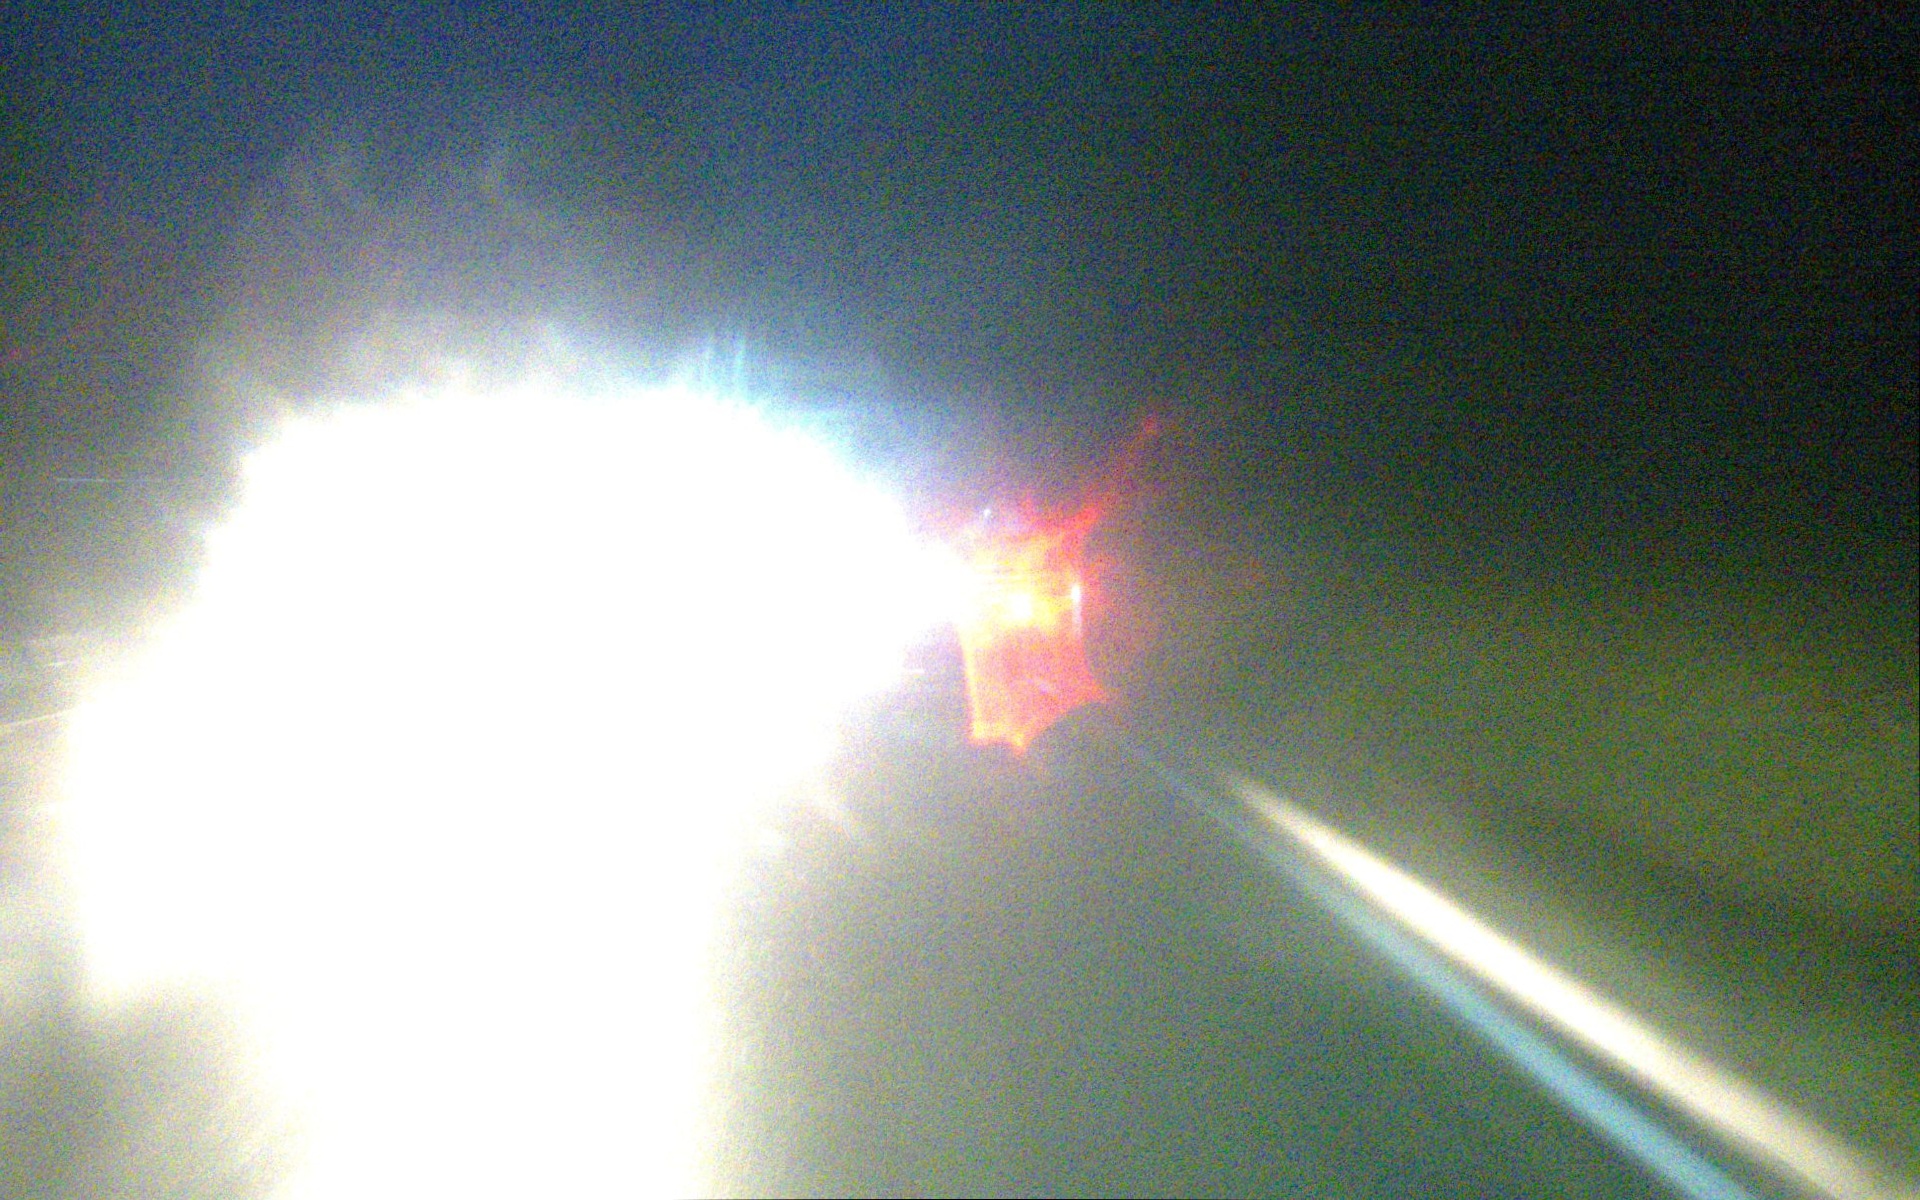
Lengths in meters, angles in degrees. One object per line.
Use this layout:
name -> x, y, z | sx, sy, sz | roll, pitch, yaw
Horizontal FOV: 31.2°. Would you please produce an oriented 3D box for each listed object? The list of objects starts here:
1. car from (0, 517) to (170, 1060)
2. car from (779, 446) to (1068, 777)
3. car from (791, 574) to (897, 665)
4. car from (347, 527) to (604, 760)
car -> -3.567, 0.511, 9.719 | 1.843, 1.499, 3.710 | 1, 0, -1
car -> -0.303, 0.000, 29.840 | 2.181, 2.548, 4.508 | 3, 2, 0
car -> -1.976, 0.323, 59.239 | 1.707, 1.499, 3.606 | 1, 0, 0
car -> -4.238, 0.320, 30.618 | 1.836, 1.837, 4.001 | -1, 2, -2
